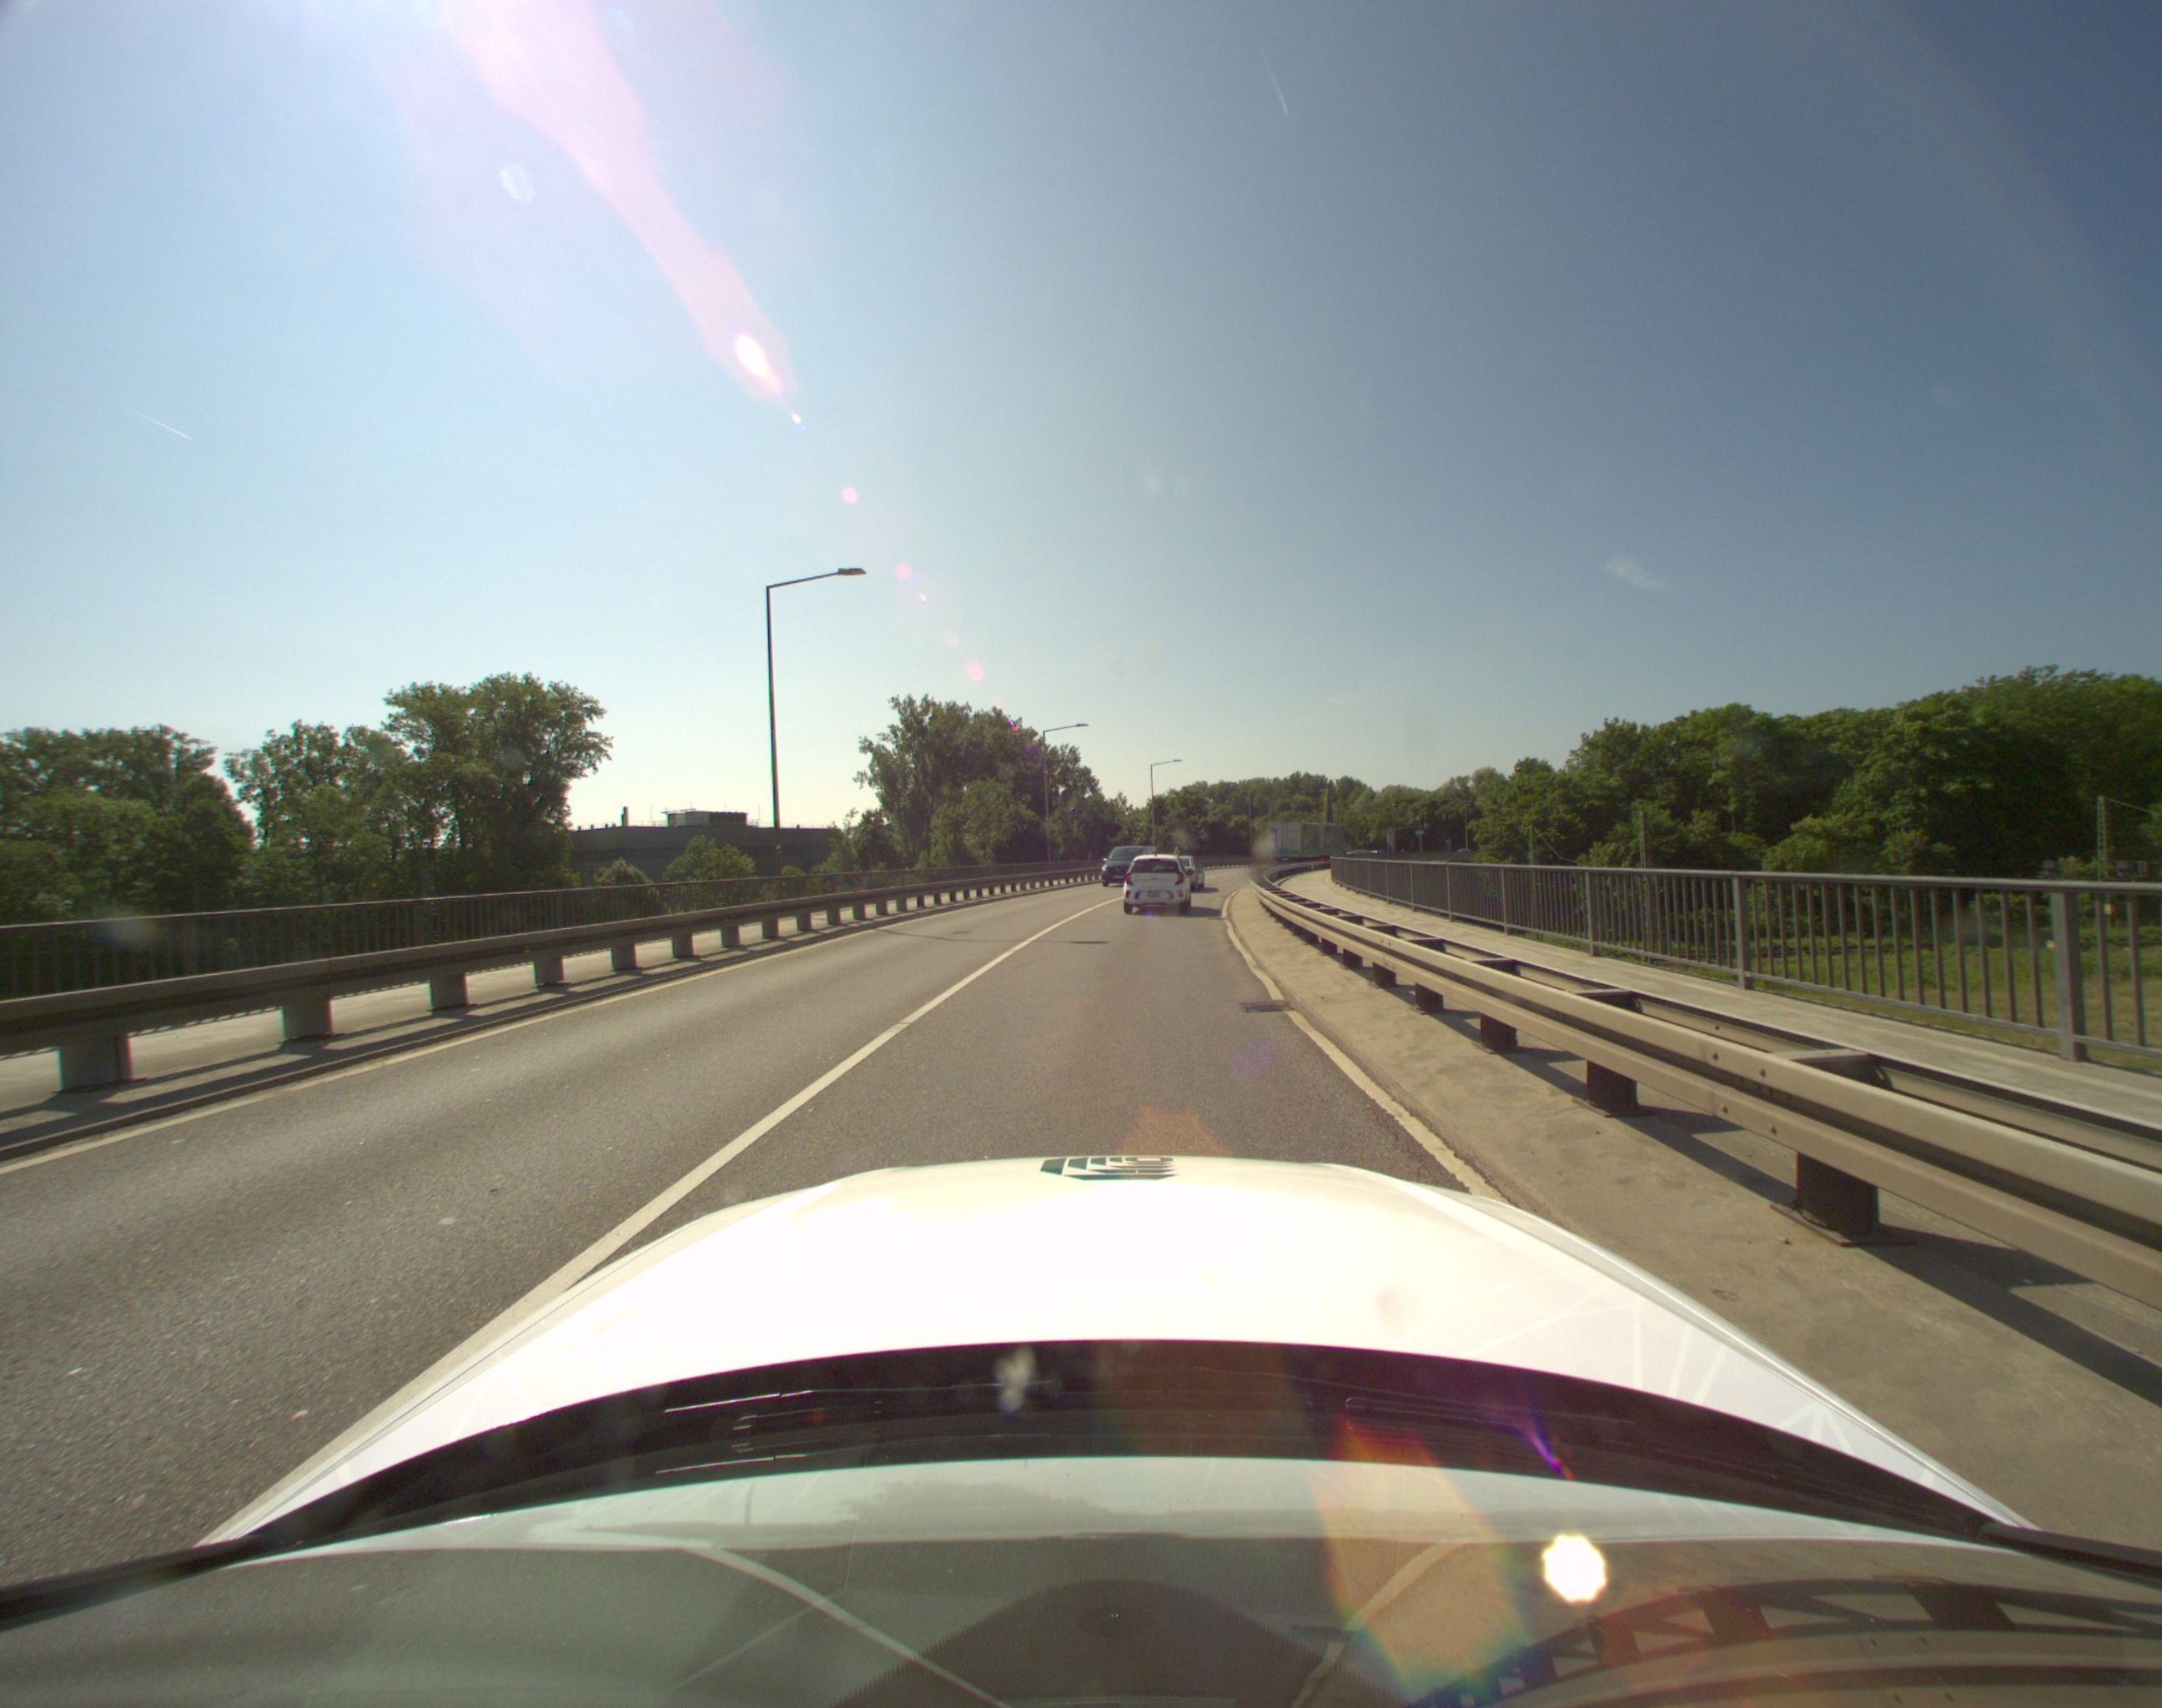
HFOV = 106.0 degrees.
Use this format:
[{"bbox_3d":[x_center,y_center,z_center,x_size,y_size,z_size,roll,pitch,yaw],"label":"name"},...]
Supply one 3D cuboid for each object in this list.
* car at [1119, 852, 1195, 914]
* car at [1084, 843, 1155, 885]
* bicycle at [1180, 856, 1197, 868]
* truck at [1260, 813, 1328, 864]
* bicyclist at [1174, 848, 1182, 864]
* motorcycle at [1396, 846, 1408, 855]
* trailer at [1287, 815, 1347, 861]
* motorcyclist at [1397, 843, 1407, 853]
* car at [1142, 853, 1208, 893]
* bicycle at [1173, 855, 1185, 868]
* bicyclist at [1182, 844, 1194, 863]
[{"bbox_3d":[2.152,0.714,22.073,1.691,1.494,4.012,0,0,10],"label":"car"},{"bbox_3d":[1.970,0.417,39.240,2.059,1.888,5.941,0,1,17],"label":"car"},{"bbox_3d":[8.737,0.640,66.106,0.920,0.891,1.978,-1,1,23],"label":"bicycle"},{"bbox_3d":[16.963,-1.234,64.302,3.230,3.757,8.422,2,2,28],"label":"truck"},{"bbox_3d":[8.017,0.153,67.215,0.484,1.329,0.951,0,-1,21],"label":"bicyclist"},{"bbox_3d":[60.135,-0.658,152.662,0.900,1.529,1.968,0,-1,-22],"label":"motorcycle"},{"bbox_3d":[20.611,-1.375,70.821,3.194,3.757,7.873,2,2,30],"label":"trailer"},{"bbox_3d":[60.162,-1.039,152.620,0.893,1.870,1.453,0,-1,-22],"label":"motorcyclist"},{"bbox_3d":[3.977,0.708,33.652,1.924,1.486,4.921,0,0,16],"label":"car"},{"bbox_3d":[8.112,0.633,67.441,0.569,1.046,1.719,-3,0,22],"label":"bicycle"},{"bbox_3d":[8.635,-0.039,65.944,0.654,1.496,1.022,0,2,26],"label":"bicyclist"}]
